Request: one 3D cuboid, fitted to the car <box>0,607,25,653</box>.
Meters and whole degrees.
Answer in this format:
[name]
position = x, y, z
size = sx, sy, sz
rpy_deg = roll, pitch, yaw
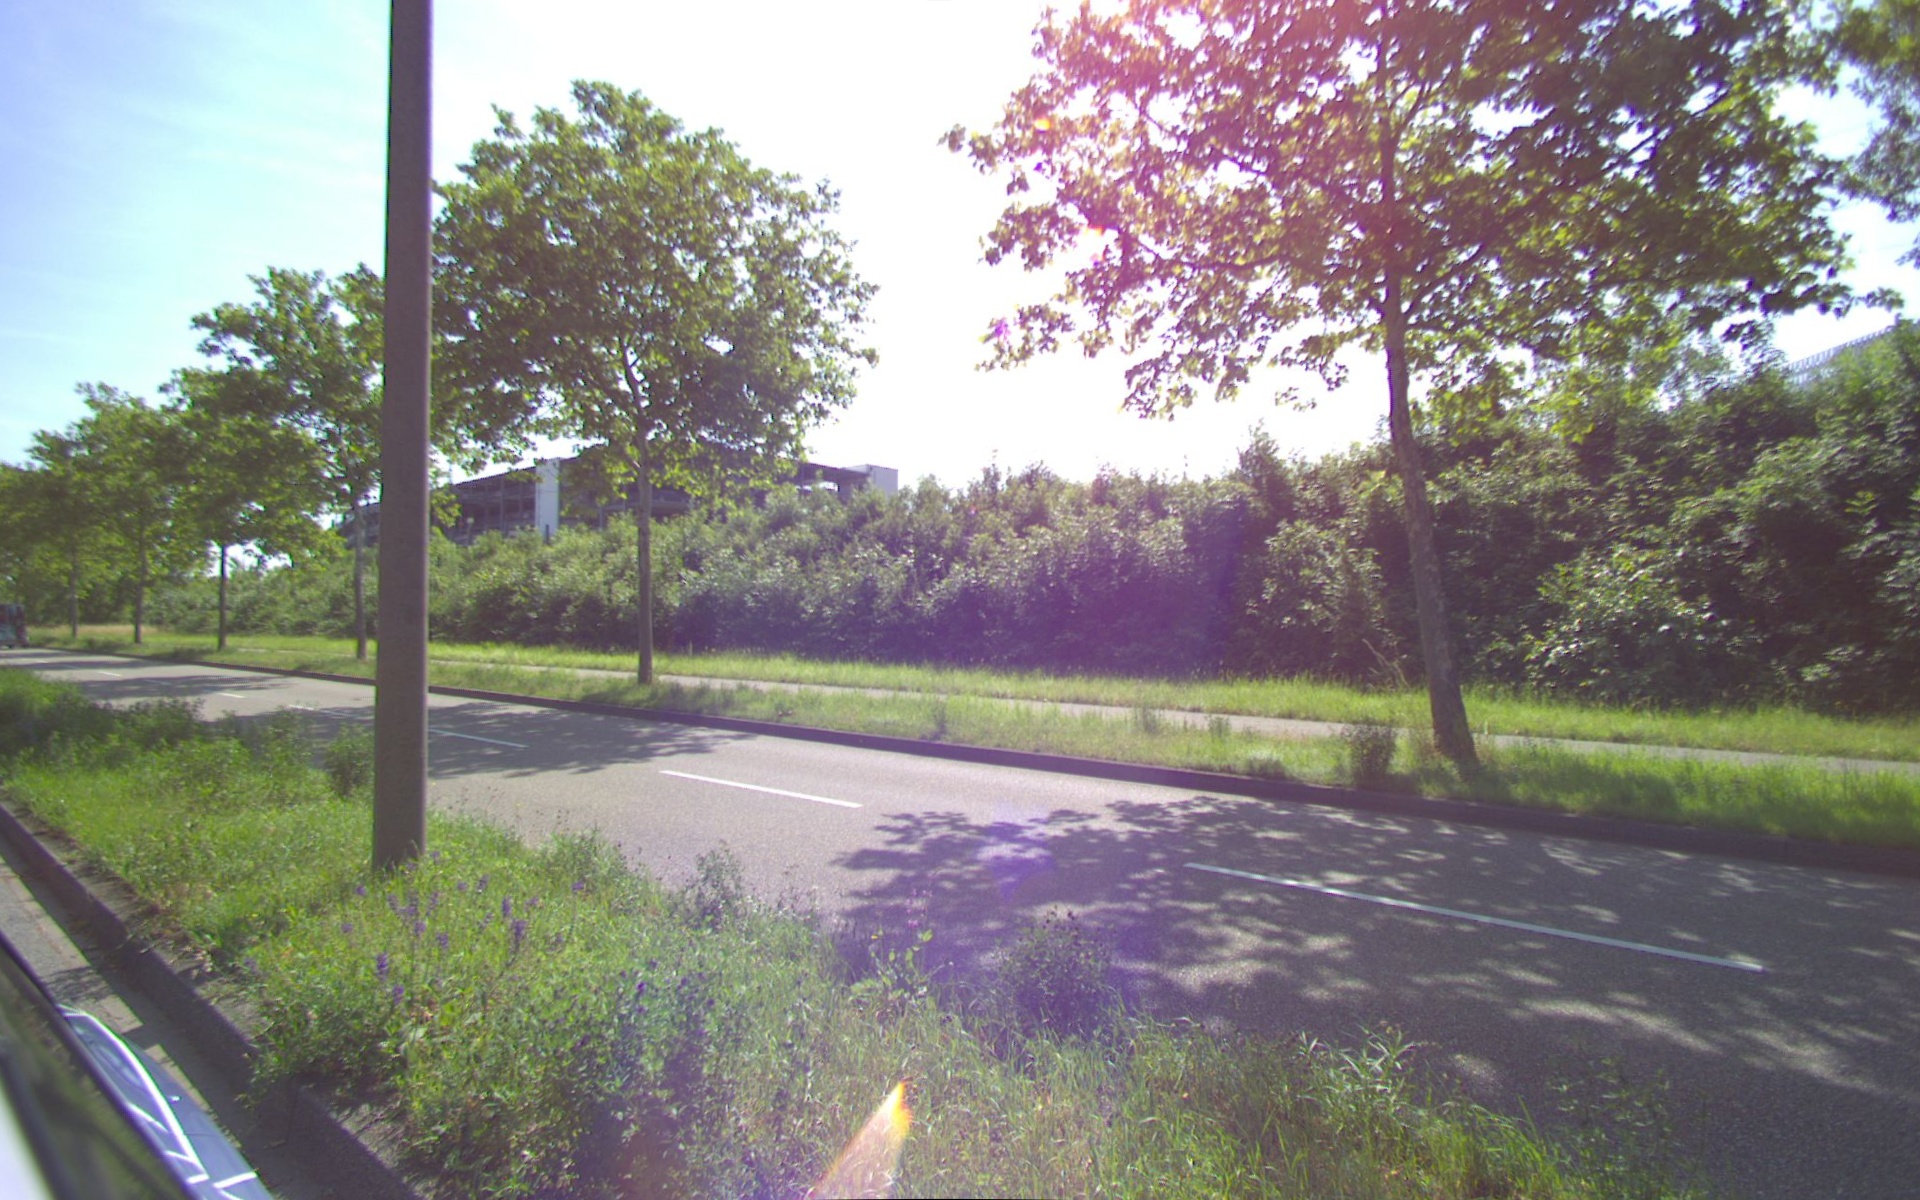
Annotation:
[car]
position = -51.960, 1.593, 54.248
size = 5.536, 2.428, 2.037
rpy_deg = -1, -2, 41
